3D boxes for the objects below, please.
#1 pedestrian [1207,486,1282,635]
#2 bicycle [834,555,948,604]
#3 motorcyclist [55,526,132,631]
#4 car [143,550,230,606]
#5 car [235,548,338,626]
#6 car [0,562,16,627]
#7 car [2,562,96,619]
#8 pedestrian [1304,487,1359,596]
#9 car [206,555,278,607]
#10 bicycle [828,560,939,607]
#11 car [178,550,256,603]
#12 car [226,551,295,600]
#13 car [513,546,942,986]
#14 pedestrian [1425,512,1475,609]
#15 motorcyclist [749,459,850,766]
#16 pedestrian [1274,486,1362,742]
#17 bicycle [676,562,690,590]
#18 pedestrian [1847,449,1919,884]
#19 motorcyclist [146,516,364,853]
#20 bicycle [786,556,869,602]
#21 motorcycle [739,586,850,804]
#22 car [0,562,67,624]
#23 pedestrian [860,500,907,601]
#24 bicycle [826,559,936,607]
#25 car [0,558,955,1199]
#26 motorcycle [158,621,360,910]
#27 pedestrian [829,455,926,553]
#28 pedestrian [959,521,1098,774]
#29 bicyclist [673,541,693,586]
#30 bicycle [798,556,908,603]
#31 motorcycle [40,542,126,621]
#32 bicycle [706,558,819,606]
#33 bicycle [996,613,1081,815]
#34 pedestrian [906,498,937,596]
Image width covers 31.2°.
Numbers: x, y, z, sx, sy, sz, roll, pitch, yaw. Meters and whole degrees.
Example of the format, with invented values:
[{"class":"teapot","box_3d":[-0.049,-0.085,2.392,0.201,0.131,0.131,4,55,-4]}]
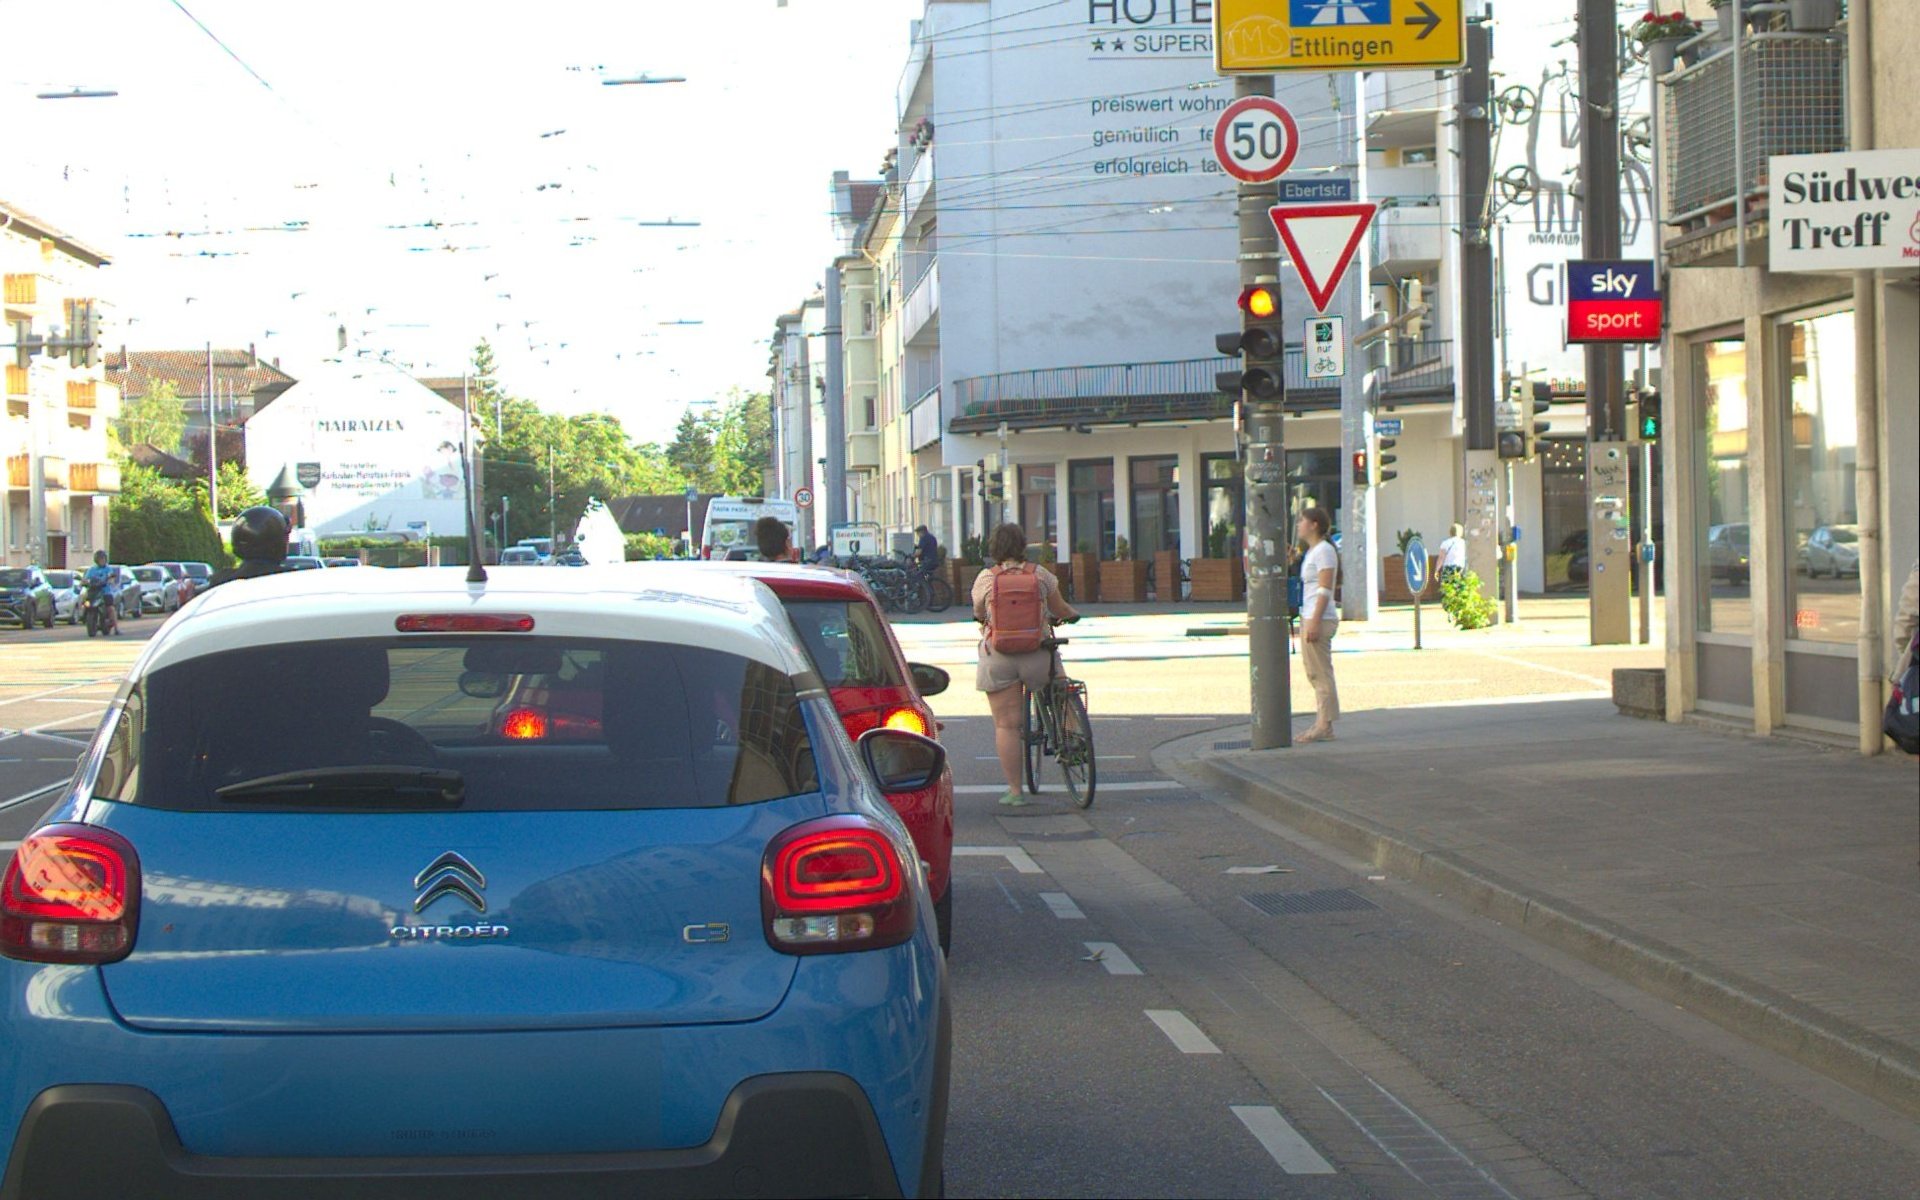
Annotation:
[{"class":"pedestrian","box_3d":[3.887,-0.543,46.940,0.926,2.007,0.759,1,0,-1]},{"class":"bicycle","box_3d":[-1.321,-0.393,65.919,2.132,0.898,0.367,1,0,-9]},{"class":"motorcyclist","box_3d":[-16.954,-0.427,67.292,1.185,2.007,1.276,-1,1,-3]},{"class":"car","box_3d":[-23.836,-0.683,106.123,1.983,1.681,4.001,1,1,-3]},{"class":"car","box_3d":[-14.938,-0.300,76.400,1.774,1.660,3.857,1,1,-4]},{"class":"car","box_3d":[-23.205,-0.129,79.354,1.787,1.506,4.150,1,1,-2]},{"class":"car","box_3d":[-24.322,-0.269,91.920,1.732,1.493,4.001,1,1,-5]},{"class":"pedestrian","box_3d":[6.849,-1.076,63.381,0.758,2.007,0.710,1,0,31]},{"class":"car","box_3d":[-24.340,-0.654,116.648,1.833,1.681,4.001,1,1,-4]},{"class":"bicycle","box_3d":[-1.489,-0.320,67.020,2.132,0.898,0.367,1,0,-9]},{"class":"car","box_3d":[-24.089,-0.774,111.499,1.882,1.681,4.001,1,1,-4]},{"class":"car","box_3d":[-24.747,-0.885,121.716,1.846,1.681,3.875,1,1,-4]},{"class":"car","box_3d":[-0.804,0.552,13.121,1.424,1.462,2.924,-1,0,-1]},{"class":"pedestrian","box_3d":[8.111,-0.655,56.910,0.736,1.595,0.748,1,0,13]},{"class":"motorcyclist","box_3d":[-0.911,0.066,19.616,0.526,1.710,0.717,1,0,-1]},{"class":"pedestrian","box_3d":[2.525,0.095,24.282,0.517,1.777,0.595,1,0,-2]},{"class":"bicycle","box_3d":[-9.090,-0.781,112.899,0.349,0.900,1.859,1,1,-2]},{"class":"pedestrian","box_3d":[3.859,0.244,12.926,0.825,1.587,0.751,1,0,-1]},{"class":"motorcyclist","box_3d":[-3.214,0.376,15.719,0.860,1.500,0.598,1,0,-1]},{"class":"bicycle","box_3d":[-2.679,-0.433,69.361,1.785,0.898,0.366,1,1,34]},{"class":"motorcycle","box_3d":[-0.919,0.501,19.433,0.526,1.136,2.290,1,1,-1]},{"class":"car","box_3d":[-23.649,-0.189,86.032,1.785,1.493,4.001,1,1,-4]},{"class":"pedestrian","box_3d":[-1.537,-0.999,69.174,0.630,2.007,0.724,1,0,-36]},{"class":"bicycle","box_3d":[-1.550,-0.331,67.423,2.132,0.898,0.367,1,0,-9]},{"class":"car","box_3d":[-0.864,0.646,7.174,1.654,1.439,3.523,1,1,-1]},{"class":"motorcycle","box_3d":[-3.213,0.725,15.895,0.537,1.215,1.981,1,1,-1]},{"class":"pedestrian","box_3d":[-1.746,-2.029,73.527,1.993,2.007,4.000,1,1,-1]},{"class":"pedestrian","box_3d":[0.395,0.271,20.261,0.777,1.455,0.682,1,0,-1]},{"class":"bicyclist","box_3d":[-9.093,-1.191,112.726,0.561,1.472,0.748,1,0,1]},{"class":"bicycle","box_3d":[-2.130,-0.403,68.332,2.132,0.898,0.367,1,0,-9]},{"class":"motorcycle","box_3d":[-17.015,-0.361,66.780,0.923,1.481,3.726,1,1,-3]},{"class":"bicycle","box_3d":[-3.811,-0.345,66.245,2.132,0.898,0.367,1,0,-9]},{"class":"bicycle","box_3d":[0.458,0.651,20.561,0.427,1.119,1.998,1,1,-1]},{"class":"pedestrian","box_3d":[-0.784,-1.082,70.325,0.577,2.007,0.626,1,0,-3]}]
